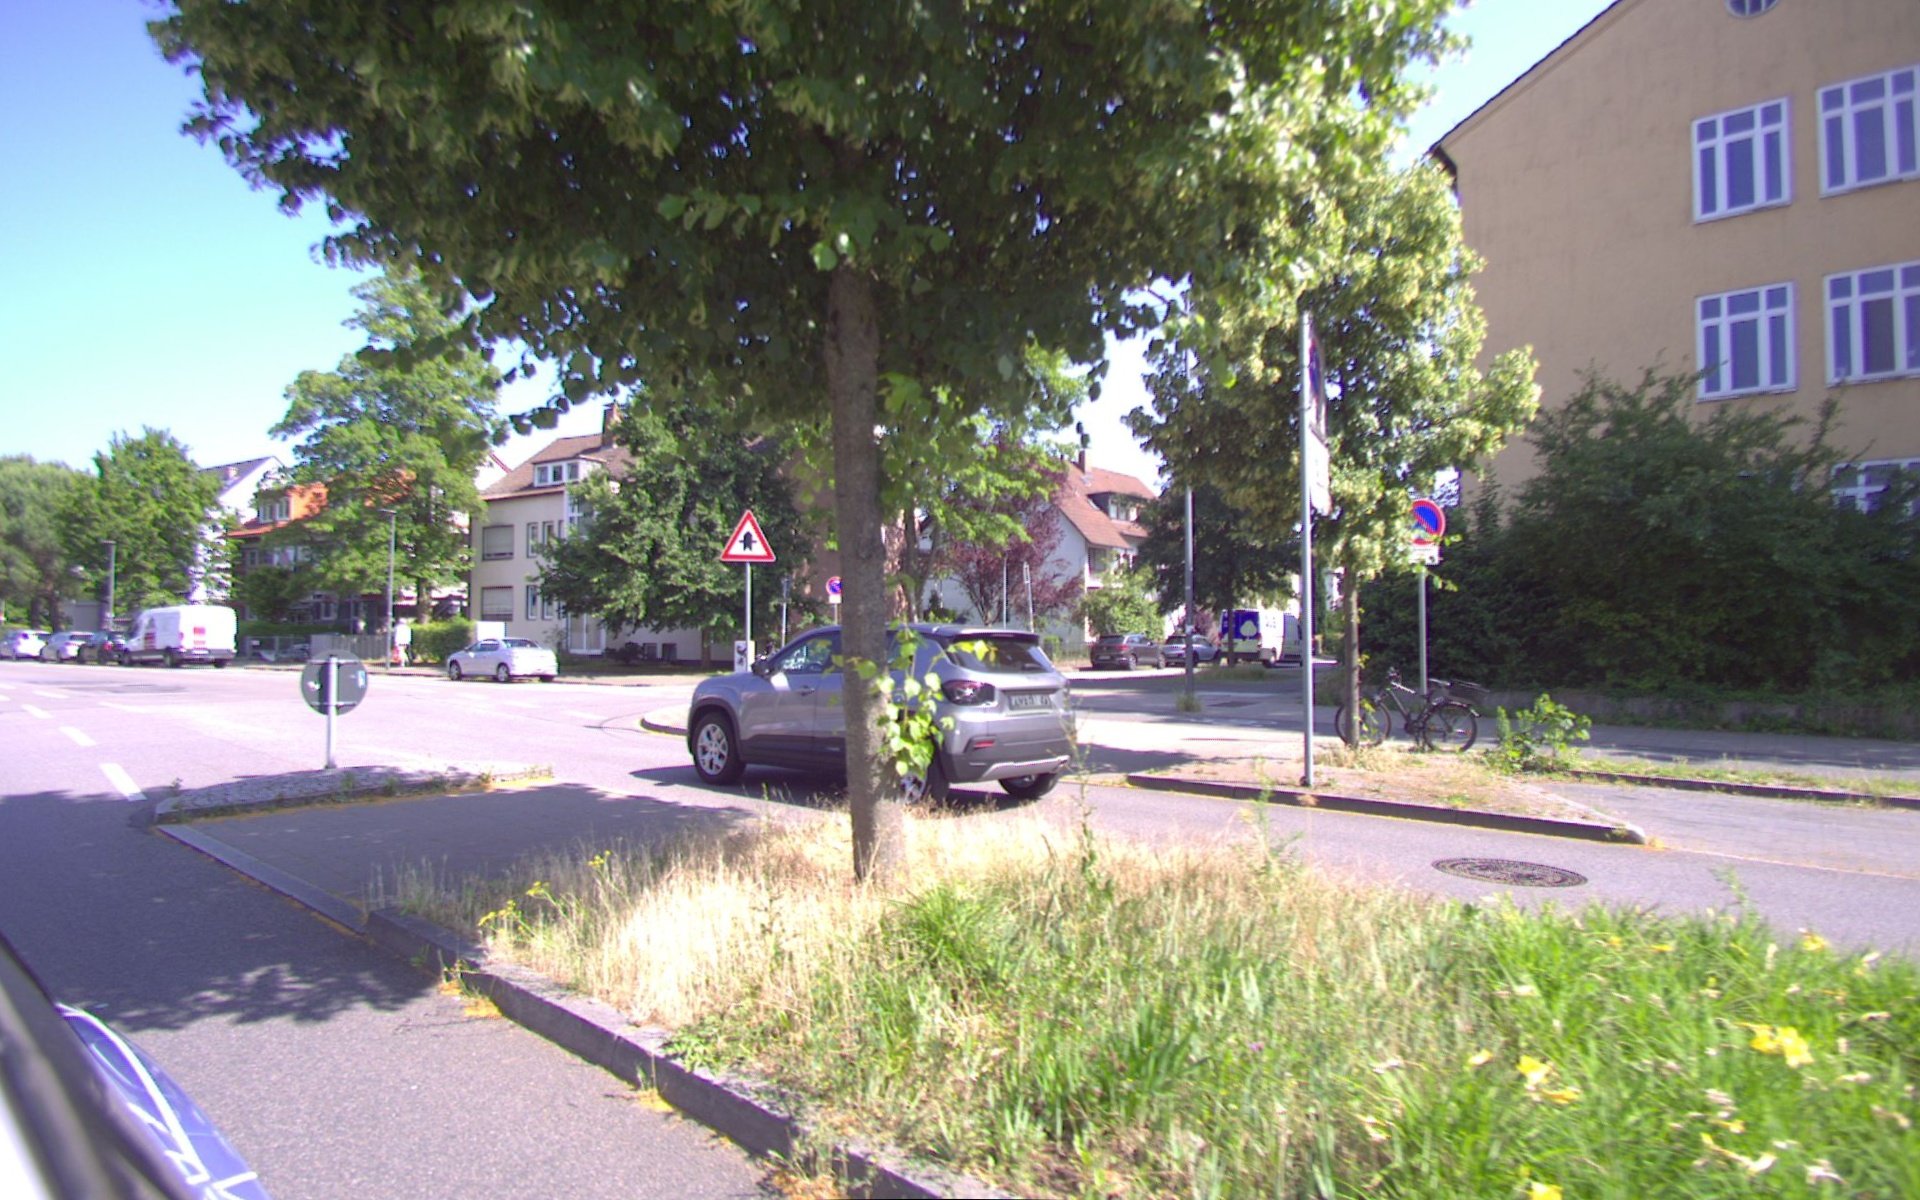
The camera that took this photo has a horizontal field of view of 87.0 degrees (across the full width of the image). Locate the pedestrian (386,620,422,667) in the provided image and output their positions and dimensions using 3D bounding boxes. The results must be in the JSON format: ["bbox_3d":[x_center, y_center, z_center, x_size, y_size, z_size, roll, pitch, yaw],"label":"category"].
[{"bbox_3d":[-21.441,1.679,39.031,0.724,1.793,0.964,-2,-3,37],"label":"pedestrian"}]

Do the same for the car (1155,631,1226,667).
[{"bbox_3d":[10.564,2.238,46.224,1.746,1.564,3.747,-3,-4,38],"label":"car"}]

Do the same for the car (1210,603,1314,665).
[{"bbox_3d":[13.695,1.609,45.627,2.281,2.544,6.053,-2,-4,39],"label":"car"}]

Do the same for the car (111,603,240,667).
[{"bbox_3d":[-32.653,1.500,42.094,5.928,2.516,2.074,-2,-4,30],"label":"car"}]

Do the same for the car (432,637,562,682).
[{"bbox_3d":[-14.121,1.824,30.813,3.988,1.276,1.706,-2,-4,33],"label":"car"}]

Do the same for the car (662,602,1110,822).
[{"bbox_3d":[-0.821,0.887,9.237,4.071,1.559,1.723,-2,-4,42],"label":"car"}]

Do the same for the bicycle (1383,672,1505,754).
[{"bbox_3d":[5.875,1.349,12.302,1.268,0.910,0.516,-1,-4,36],"label":"bicycle"}]

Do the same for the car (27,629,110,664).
[{"bbox_3d":[-41.949,2.211,47.585,4.658,1.571,1.706,-2,-4,33],"label":"car"}]

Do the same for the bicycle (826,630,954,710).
[{"bbox_3d":[-1.154,1.197,17.395,0.738,1.266,2.491,-3,-5,38],"label":"bicycle"}]

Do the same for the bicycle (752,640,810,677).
[{"bbox_3d":[-5.347,1.749,30.219,1.688,1.089,0.378,0,-3,-8],"label":"bicycle"}]

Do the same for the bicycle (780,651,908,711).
[{"bbox_3d":[-2.041,1.436,18.210,0.738,0.995,2.520,-3,-5,38],"label":"bicycle"}]

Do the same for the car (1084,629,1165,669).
[{"bbox_3d":[6.823,2.038,41.793,1.746,1.564,3.747,-3,-4,38],"label":"car"}]

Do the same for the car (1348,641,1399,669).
[{"bbox_3d":[26.379,3.518,64.493,1.863,1.719,3.947,-3,-4,39],"label":"car"}]

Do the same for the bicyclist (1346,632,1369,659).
[{"bbox_3d":[20.839,2.396,53.035,0.714,1.402,1.279,-2,-3,40],"label":"bicyclist"}]

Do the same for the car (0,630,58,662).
[{"bbox_3d":[-47.156,2.335,50.870,3.988,1.571,1.706,-2,-4,33],"label":"car"}]

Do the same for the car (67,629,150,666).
[{"bbox_3d":[-37.875,2.131,44.982,3.988,1.571,1.706,-2,-4,33],"label":"car"}]

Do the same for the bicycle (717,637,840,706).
[{"bbox_3d":[-3.502,1.383,19.797,0.738,1.266,2.520,-3,-5,38],"label":"bicycle"}]

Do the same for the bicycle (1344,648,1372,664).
[{"bbox_3d":[20.876,2.941,53.068,0.749,0.830,2.146,-3,-4,39],"label":"bicycle"}]

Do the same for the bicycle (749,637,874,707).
[{"bbox_3d":[-2.765,1.355,19.147,0.738,1.249,2.520,-3,-5,38],"label":"bicycle"}]

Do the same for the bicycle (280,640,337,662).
[{"bbox_3d":[-29.897,2.333,46.476,0.774,1.009,2.051,-2,-3,34],"label":"bicycle"}]
